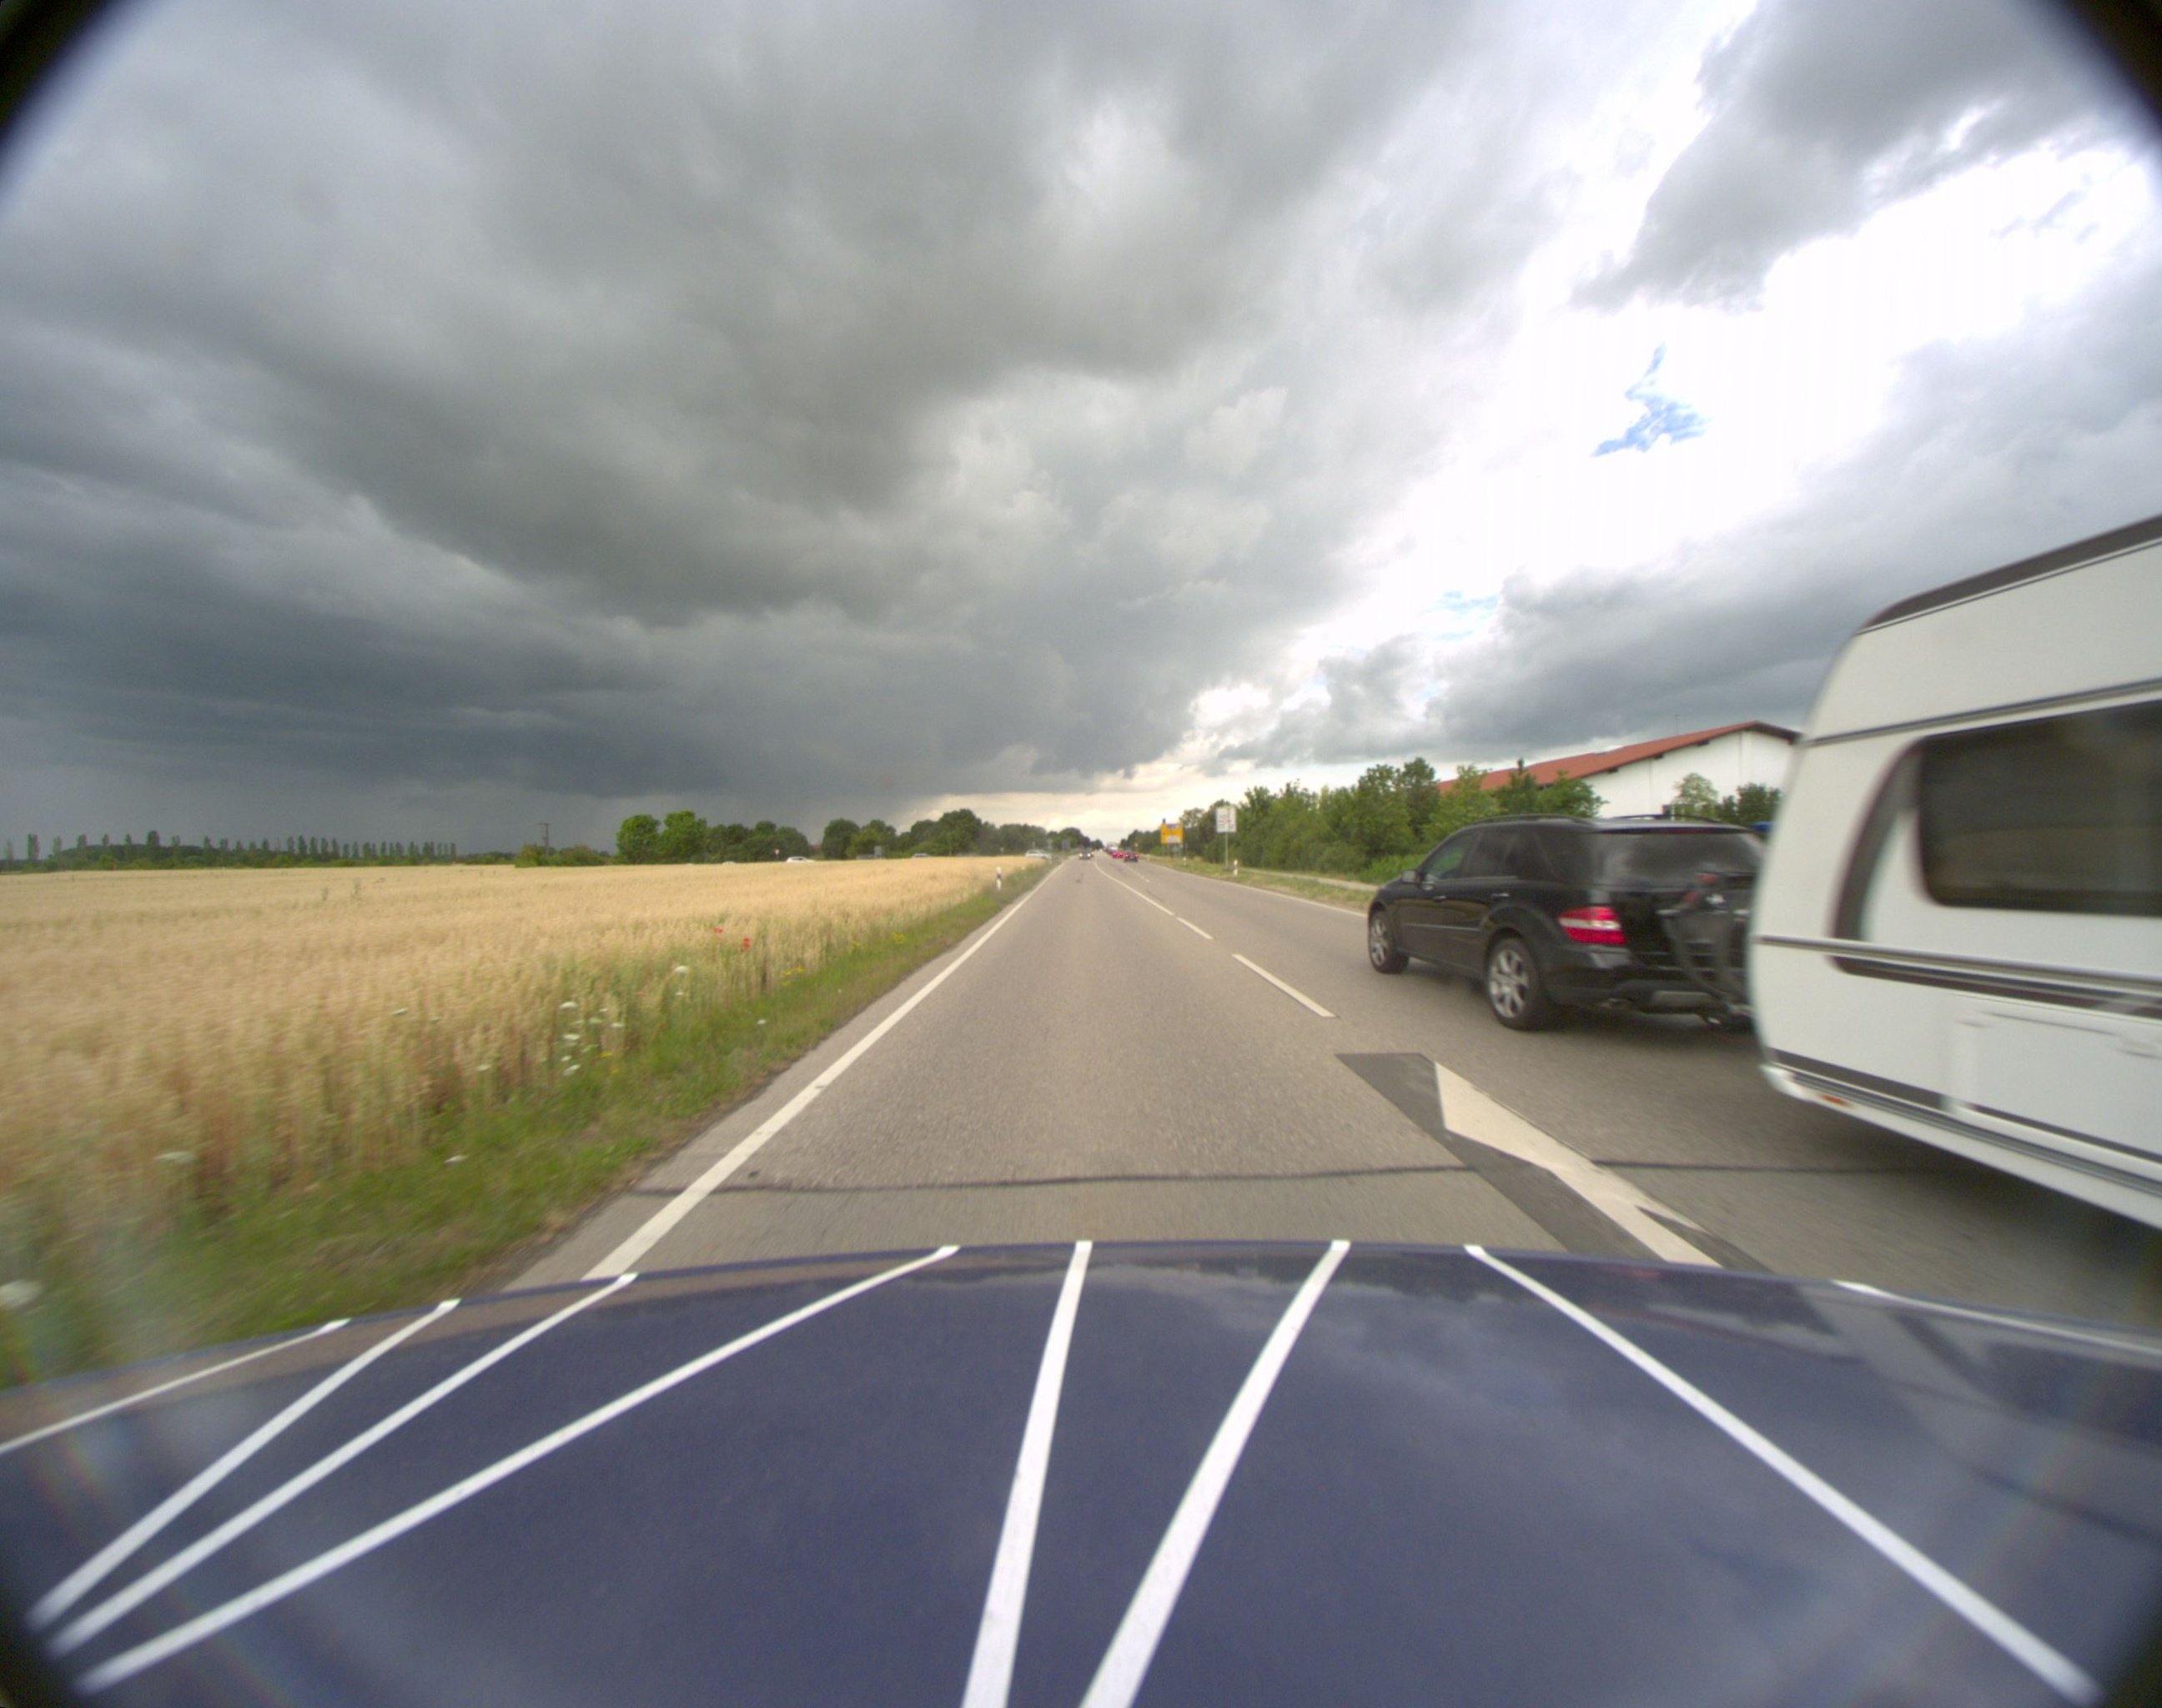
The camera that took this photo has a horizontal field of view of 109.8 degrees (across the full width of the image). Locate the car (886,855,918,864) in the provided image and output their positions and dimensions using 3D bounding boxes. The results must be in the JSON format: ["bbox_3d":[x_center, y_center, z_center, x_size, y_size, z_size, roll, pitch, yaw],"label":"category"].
[{"bbox_3d":[-26.924,0.836,114.310,4.209,1.345,1.723,-1,0,5],"label":"car"}]

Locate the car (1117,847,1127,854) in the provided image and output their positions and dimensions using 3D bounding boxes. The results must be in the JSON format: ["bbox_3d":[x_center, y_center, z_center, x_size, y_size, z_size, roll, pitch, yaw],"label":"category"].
[{"bbox_3d":[7.496,-0.604,140.294,1.775,1.234,4.211,0,0,1],"label":"car"}]

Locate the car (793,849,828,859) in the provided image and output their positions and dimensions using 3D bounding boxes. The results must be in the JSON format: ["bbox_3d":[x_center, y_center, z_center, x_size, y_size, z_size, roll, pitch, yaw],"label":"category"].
[{"bbox_3d":[-41.021,-0.027,115.310,4.633,1.486,1.722,-1,3,5],"label":"car"}]

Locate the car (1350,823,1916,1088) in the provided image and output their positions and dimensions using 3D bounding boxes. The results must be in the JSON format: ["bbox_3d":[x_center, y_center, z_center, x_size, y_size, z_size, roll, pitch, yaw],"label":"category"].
[{"bbox_3d":[4.347,0.635,7.192,1.998,1.689,4.675,0,1,1],"label":"car"}]

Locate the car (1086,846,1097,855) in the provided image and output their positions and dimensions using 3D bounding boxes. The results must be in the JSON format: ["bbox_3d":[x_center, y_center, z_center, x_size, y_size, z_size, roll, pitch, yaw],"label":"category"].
[{"bbox_3d":[1.907,-0.676,142.375,1.998,1.474,4.000,-1,1,1],"label":"car"}]

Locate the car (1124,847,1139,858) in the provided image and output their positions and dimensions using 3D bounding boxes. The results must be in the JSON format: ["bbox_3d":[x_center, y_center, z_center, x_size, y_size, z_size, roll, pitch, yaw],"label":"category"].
[{"bbox_3d":[6.896,-0.199,103.913,1.673,1.421,4.302,1,1,1],"label":"car"}]

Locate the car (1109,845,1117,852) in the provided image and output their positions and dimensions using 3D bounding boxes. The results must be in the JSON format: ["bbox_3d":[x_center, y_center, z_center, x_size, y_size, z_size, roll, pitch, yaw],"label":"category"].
[{"bbox_3d":[8.517,-1.459,202.770,1.999,1.614,4.261,2,0,0],"label":"car"}]

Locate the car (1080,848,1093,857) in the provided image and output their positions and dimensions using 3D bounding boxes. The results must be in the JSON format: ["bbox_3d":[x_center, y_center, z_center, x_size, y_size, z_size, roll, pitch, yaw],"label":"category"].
[{"bbox_3d":[0.887,-0.269,121.806,1.998,1.474,4.000,-1,1,1],"label":"car"}]

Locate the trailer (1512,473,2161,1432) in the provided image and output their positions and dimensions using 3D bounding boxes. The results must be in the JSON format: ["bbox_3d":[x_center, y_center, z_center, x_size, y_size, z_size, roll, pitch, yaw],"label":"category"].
[{"bbox_3d":[4.207,0.279,1.589,2.330,2.713,7.843,0,1,2],"label":"trailer"}]
